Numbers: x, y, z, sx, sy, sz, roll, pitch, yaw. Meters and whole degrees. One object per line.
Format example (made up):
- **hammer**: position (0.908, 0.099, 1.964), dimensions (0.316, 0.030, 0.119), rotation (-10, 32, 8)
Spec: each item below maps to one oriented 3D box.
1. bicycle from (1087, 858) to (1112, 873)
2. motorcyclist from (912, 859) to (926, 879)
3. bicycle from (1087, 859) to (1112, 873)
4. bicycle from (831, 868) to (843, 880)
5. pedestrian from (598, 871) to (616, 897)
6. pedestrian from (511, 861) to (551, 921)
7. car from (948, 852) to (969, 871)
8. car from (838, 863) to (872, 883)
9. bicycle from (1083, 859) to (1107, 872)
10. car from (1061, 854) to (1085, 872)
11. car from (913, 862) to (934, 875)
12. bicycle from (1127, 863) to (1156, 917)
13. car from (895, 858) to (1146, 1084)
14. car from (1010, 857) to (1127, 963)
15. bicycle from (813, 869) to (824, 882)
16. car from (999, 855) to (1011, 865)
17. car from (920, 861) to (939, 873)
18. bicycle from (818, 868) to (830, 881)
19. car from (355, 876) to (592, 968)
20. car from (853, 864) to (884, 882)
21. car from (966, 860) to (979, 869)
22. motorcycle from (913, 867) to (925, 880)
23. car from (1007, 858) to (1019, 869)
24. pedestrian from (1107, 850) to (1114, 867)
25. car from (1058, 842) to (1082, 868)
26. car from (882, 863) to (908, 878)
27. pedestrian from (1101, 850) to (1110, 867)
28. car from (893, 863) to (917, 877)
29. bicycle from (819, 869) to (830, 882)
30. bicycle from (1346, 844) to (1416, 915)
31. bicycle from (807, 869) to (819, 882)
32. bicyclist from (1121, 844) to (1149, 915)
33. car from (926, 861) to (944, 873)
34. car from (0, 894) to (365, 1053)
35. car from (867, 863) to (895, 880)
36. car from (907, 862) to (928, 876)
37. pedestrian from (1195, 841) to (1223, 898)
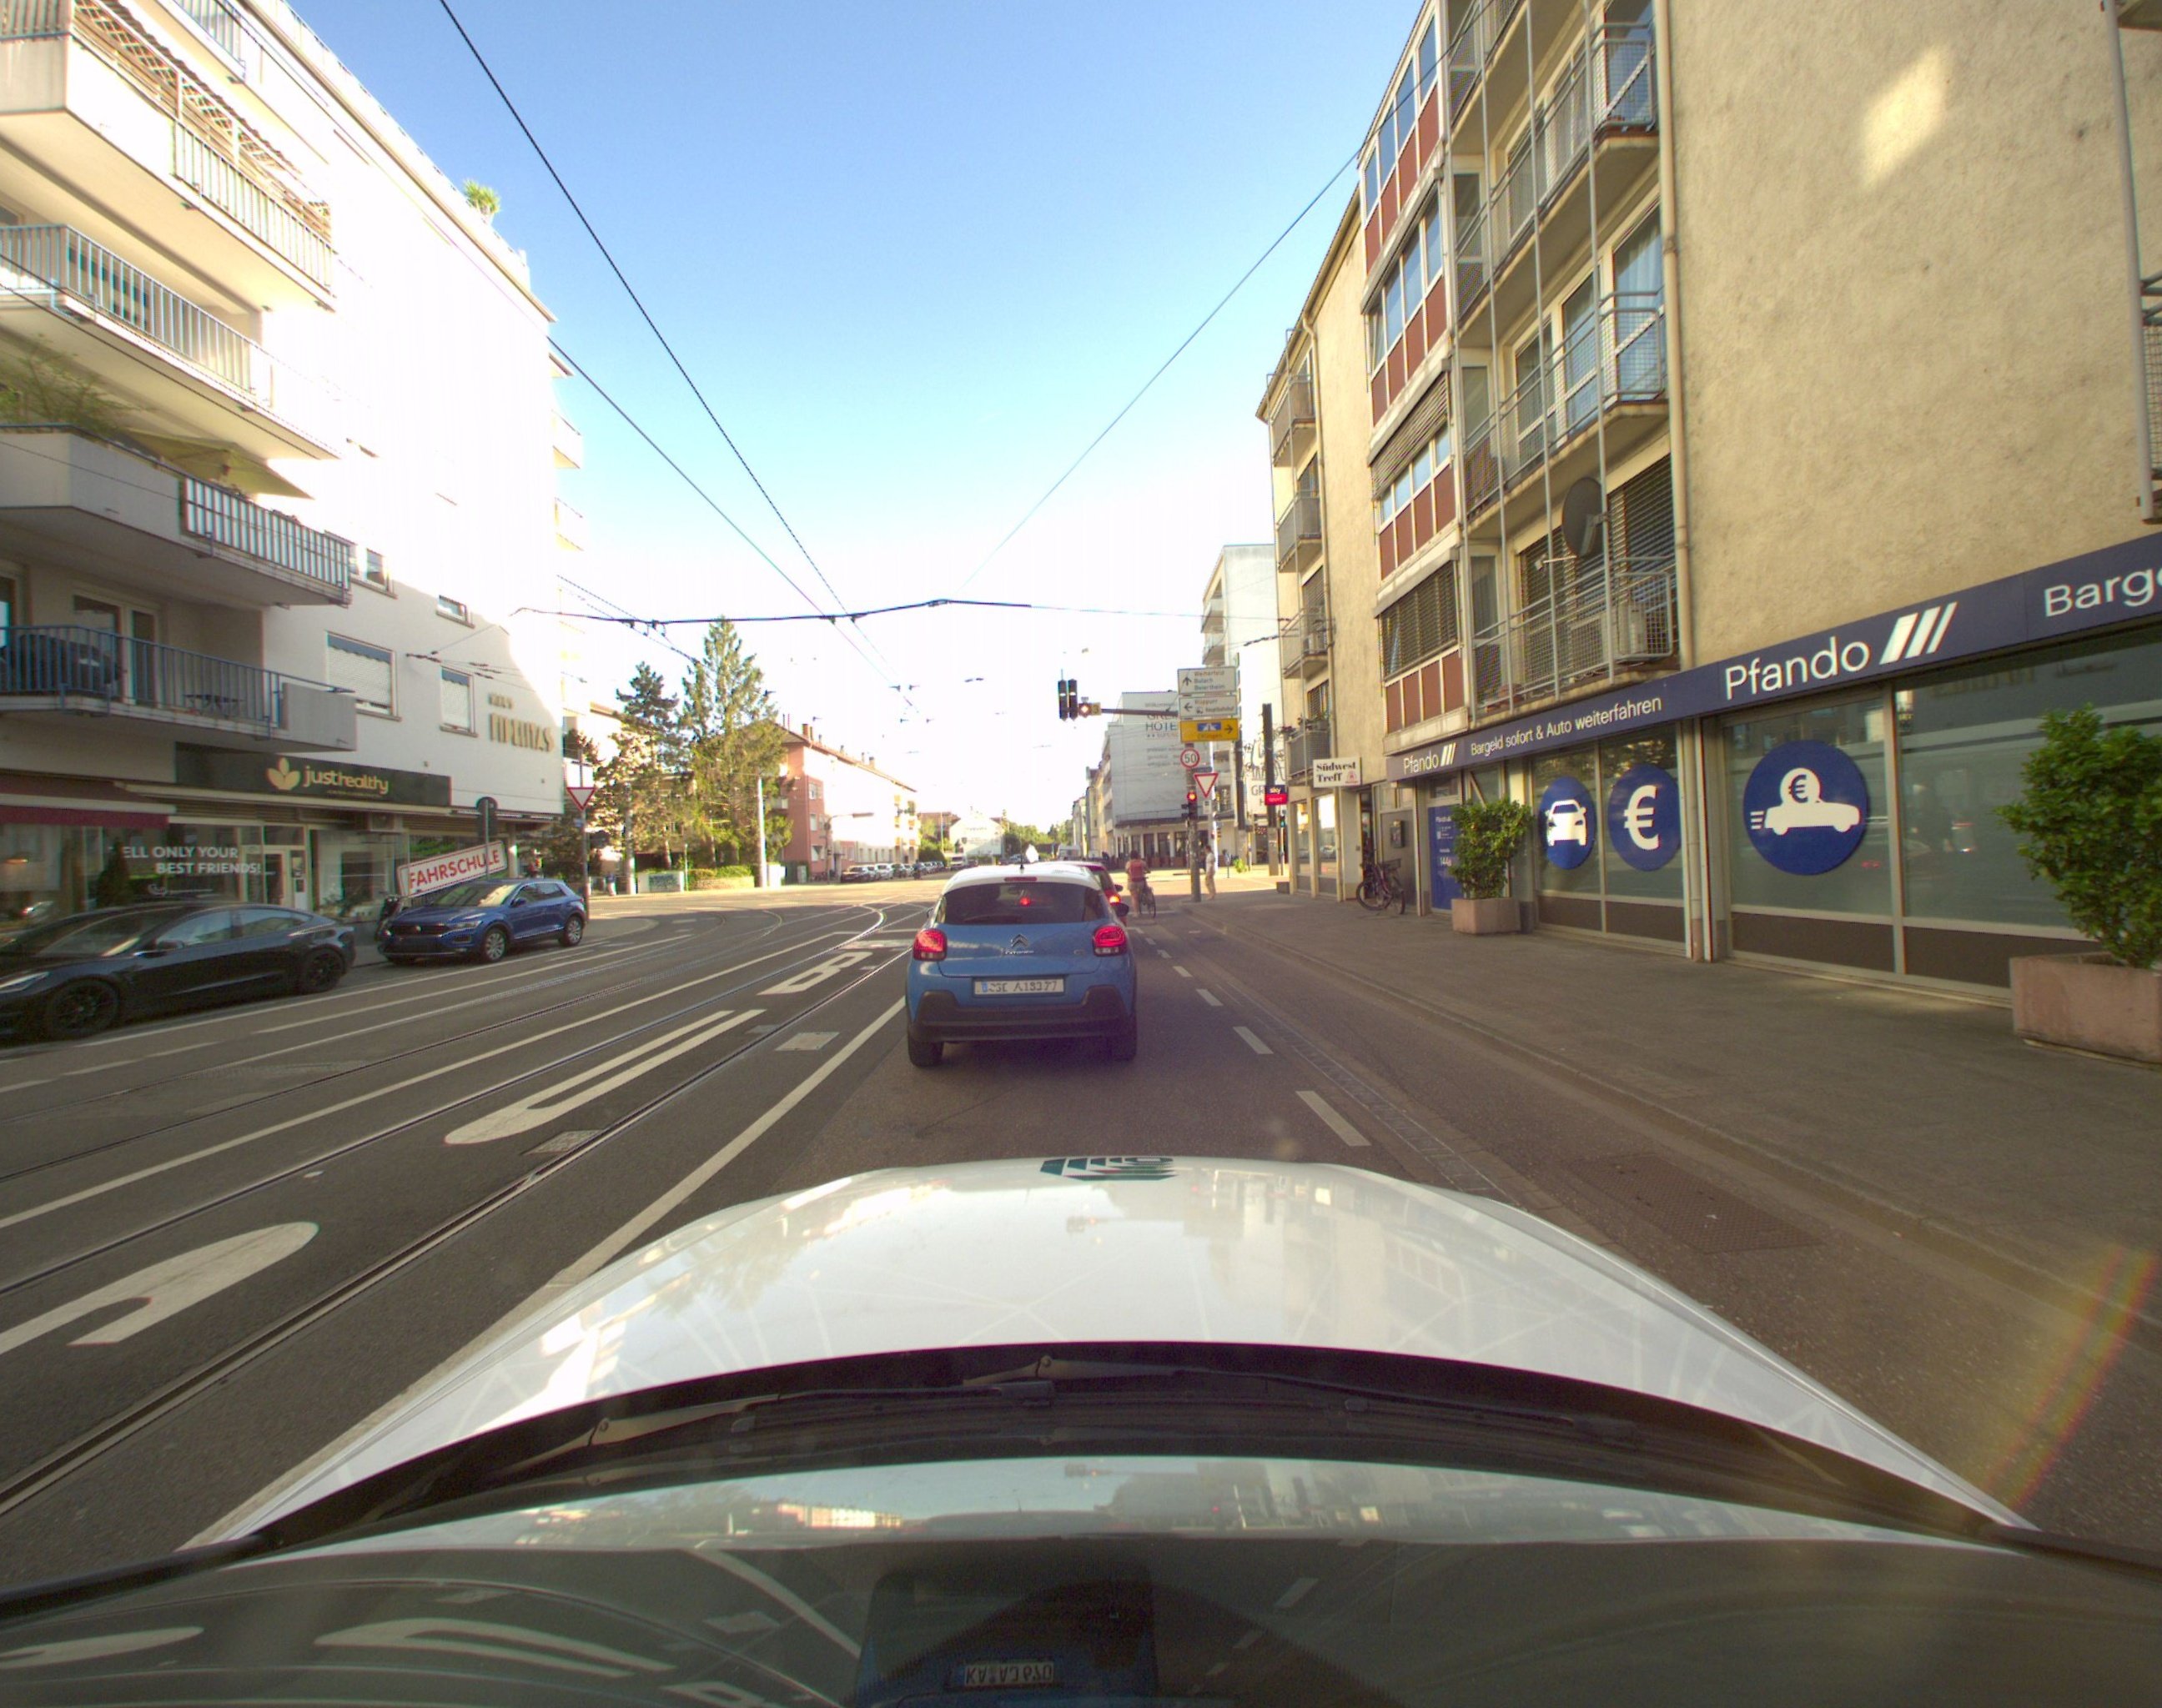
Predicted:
- **bicycle**: position (1.517, 0.931, 65.938), dimensions (1.901, 1.064, 0.641), rotation (-2, 0, -6)
- **motorcyclist**: position (-13.474, 1.269, 67.697), dimensions (0.990, 1.631, 0.737), rotation (-2, 0, -7)
- **bicycle**: position (1.526, 0.961, 67.244), dimensions (1.901, 1.064, 0.641), rotation (-2, 0, -6)
- **bicycle**: position (-22.716, 1.858, 75.806), dimensions (0.608, 1.082, 1.908), rotation (-2, 0, -4)
- **pedestrian**: position (-32.390, 2.055, 55.678), dimensions (0.810, 1.702, 0.677), rotation (-2, 0, -15)
- **pedestrian**: position (-17.288, 1.170, 25.599), dimensions (0.761, 1.834, 0.725), rotation (-2, 0, 28)
- **car**: position (-18.124, 1.100, 120.579), dimensions (2.489, 2.712, 5.828), rotation (-2, 0, -5)
- **car**: position (-19.290, 1.599, 69.623), dimensions (1.947, 1.519, 3.995), rotation (-2, 0, -4)
- **bicycle**: position (1.160, 0.954, 68.447), dimensions (1.901, 1.064, 0.641), rotation (-2, 0, -6)
- **car**: position (-0.715, 0.743, 67.989), dimensions (1.783, 1.359, 3.909), rotation (-2, 0, -4)
- **car**: position (-20.096, 1.798, 104.042), dimensions (1.947, 1.519, 3.995), rotation (-2, 0, -4)
- **bicycle**: position (1.532, 0.889, 20.729), dimensions (0.611, 1.264, 1.911), rotation (-2, 0, 2)
- **car**: position (-0.453, 0.793, 7.502), dimensions (1.675, 1.462, 3.997), rotation (-1, 0, -2)
- **car**: position (-0.227, 0.813, 13.711), dimensions (1.675, 1.462, 3.997), rotation (-1, 0, -2)
- **bicycle**: position (-21.974, 1.792, 68.191), dimensions (0.537, 1.082, 1.905), rotation (-2, 0, -9)
- **car**: position (-13.060, 0.968, 139.706), dimensions (2.002, 1.627, 5.044), rotation (-2, 0, -5)
- **car**: position (-20.296, 1.770, 109.331), dimensions (1.947, 1.519, 3.995), rotation (-2, 0, -4)
- **bicycle**: position (-23.049, 1.841, 73.110), dimensions (0.536, 1.082, 1.908), rotation (-2, 0, -4)
- **car**: position (-11.879, 1.246, 16.328), dimensions (1.720, 1.505, 4.113), rotation (0, 0, -2)
- **car**: position (-19.570, 1.716, 75.247), dimensions (1.947, 1.519, 4.040), rotation (-2, 0, -4)
- **car**: position (-19.335, 1.812, 145.248), dimensions (1.947, 1.519, 3.995), rotation (-2, 0, -4)
- **motorcycle**: position (-13.483, 1.597, 67.764), dimensions (0.751, 0.976, 2.092), rotation (-2, 0, -7)
- **car**: position (-14.263, 1.975, 171.414), dimensions (2.333, 2.039, 5.044), rotation (-2, 0, -4)
- **pedestrian**: position (2.524, 0.380, 70.120), dimensions (0.467, 1.420, 0.524), rotation (-2, 0, -11)
- **car**: position (-1.038, 0.087, 73.450), dimensions (2.074, 2.269, 5.647), rotation (-1, 0, -2)
- **car**: position (-19.729, 1.737, 86.532), dimensions (1.947, 1.519, 3.995), rotation (-2, 0, -4)
- **pedestrian**: position (2.104, 0.397, 70.382), dimensions (0.520, 1.420, 0.550), rotation (-3, 0, 22)
- **car**: position (-19.980, 1.788, 92.599), dimensions (1.947, 1.519, 3.995), rotation (-2, 0, -4)
- **bicycle**: position (-21.595, 1.792, 68.475), dimensions (0.537, 1.082, 1.905), rotation (-2, 0, -9)
- **bicycle**: position (5.758, 0.460, 15.742), dimensions (0.637, 1.264, 1.911), rotation (-2, 0, 2)
- **bicycle**: position (-22.380, 1.792, 68.081), dimensions (0.640, 1.082, 1.905), rotation (-2, 0, -9)
- **bicyclist**: position (1.368, 0.635, 20.696), dimensions (0.598, 1.746, 1.084), rotation (-2, 0, 2)
- **car**: position (-20.723, 1.849, 115.687), dimensions (1.947, 1.519, 3.995), rotation (-2, 0, -4)
- **car**: position (-11.985, 1.332, 10.425), dimensions (1.720, 1.403, 4.486), rotation (0, 0, -2)
- **car**: position (-19.559, 1.683, 79.859), dimensions (1.947, 1.519, 3.995), rotation (-2, 0, -4)
- **car**: position (-19.850, 1.783, 99.028), dimensions (1.947, 1.519, 3.995), rotation (-2, 0, -4)
- **pedestrian**: position (3.839, 0.456, 24.418), dimensions (0.747, 1.635, 0.742), rotation (-2, 0, 7)
